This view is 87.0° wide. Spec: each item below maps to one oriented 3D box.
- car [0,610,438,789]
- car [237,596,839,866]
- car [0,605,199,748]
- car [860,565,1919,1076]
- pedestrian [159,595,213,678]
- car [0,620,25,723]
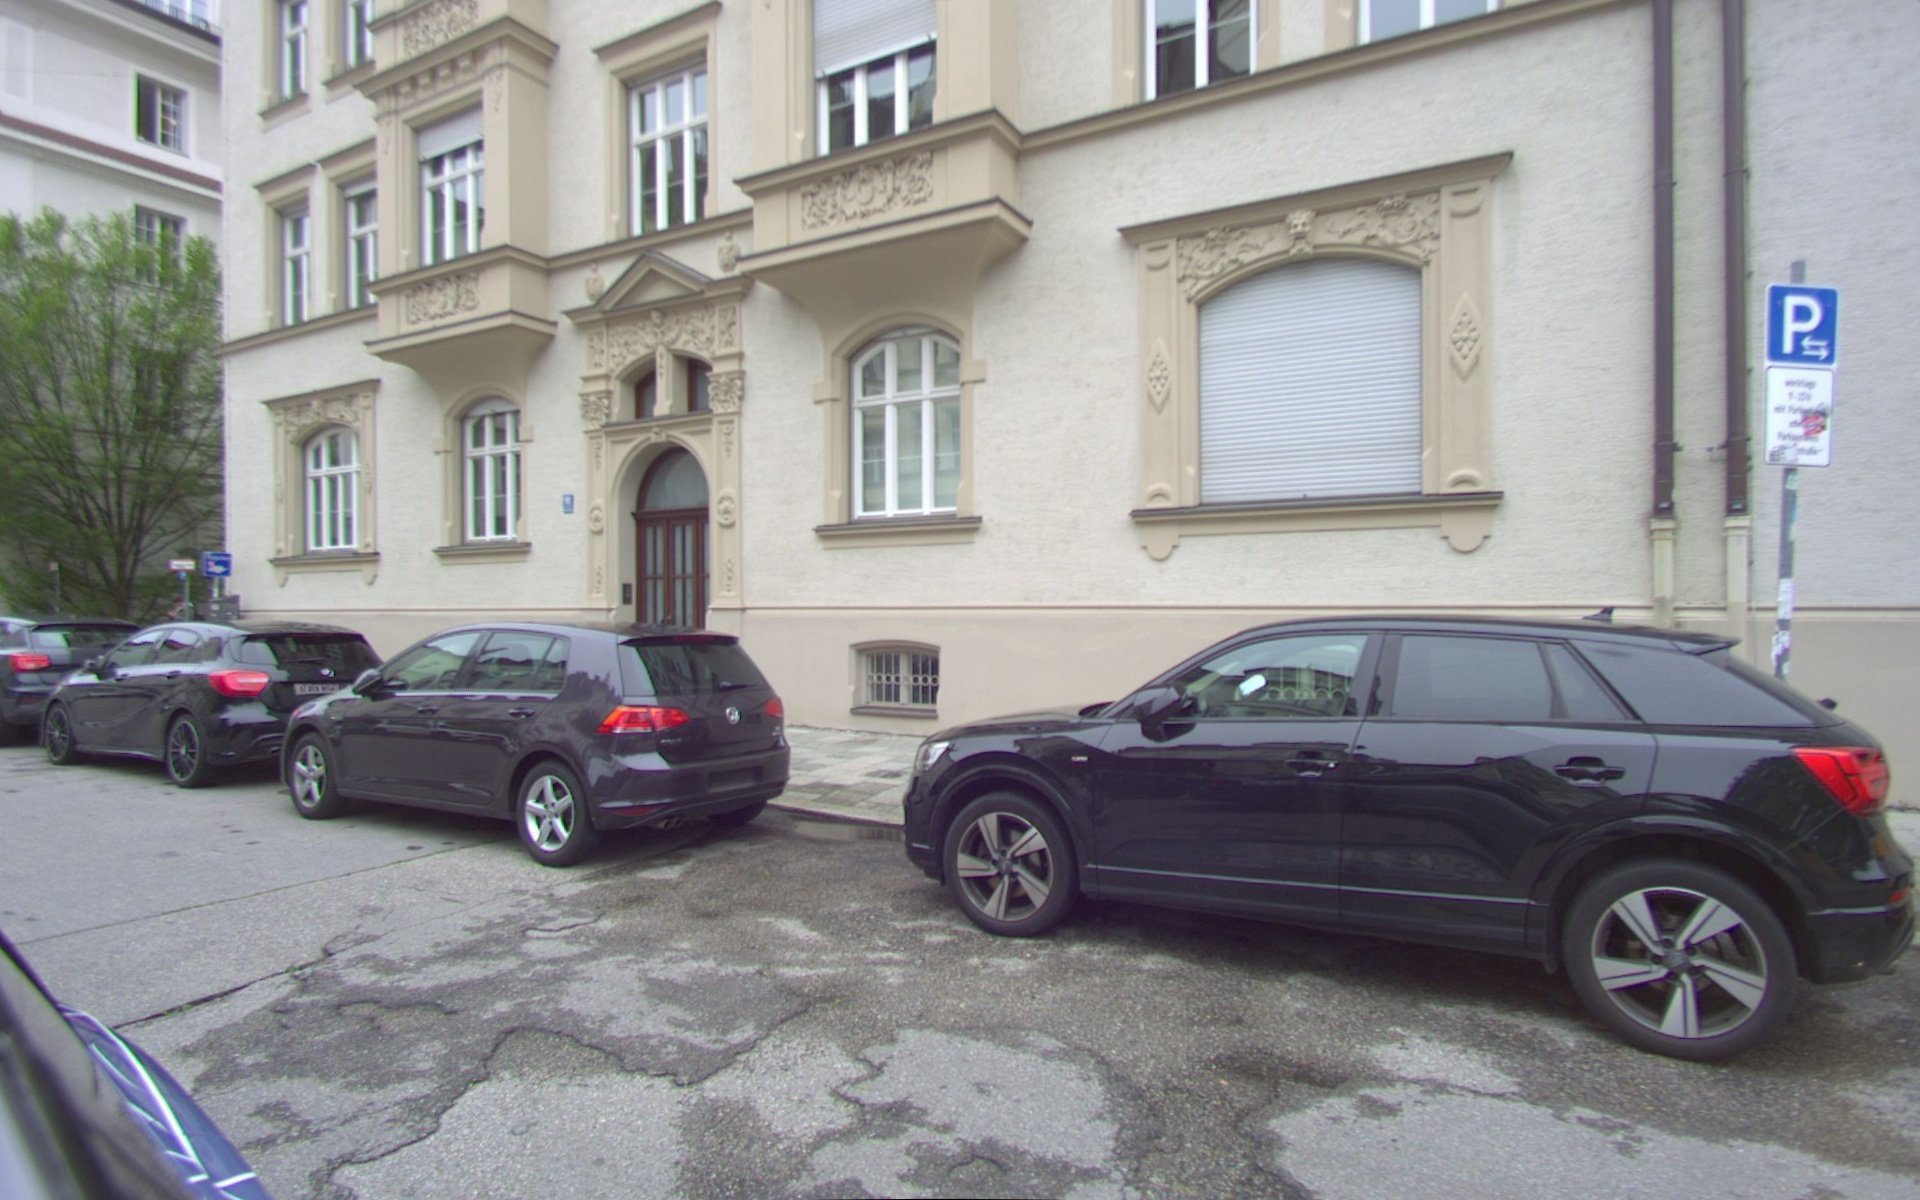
[{"bbox_3d":[-7.478,0.868,10.084,4.533,1.445,1.822,-1,-2,29],"label":"car"},{"bbox_3d":[-3.123,0.778,7.320,4.228,1.447,1.823,-1,-3,30],"label":"car"},{"bbox_3d":[-11.701,0.897,12.651,4.364,1.530,1.759,-1,-4,28],"label":"car"},{"bbox_3d":[1.670,0.702,4.715,4.003,1.511,1.741,-1,-2,30],"label":"car"},{"bbox_3d":[-15.623,0.733,20.440,0.628,1.638,0.669,-1,-1,27],"label":"pedestrian"},{"bbox_3d":[-15.680,1.025,14.680,4.225,1.445,1.825,-1,-2,28],"label":"car"}]
